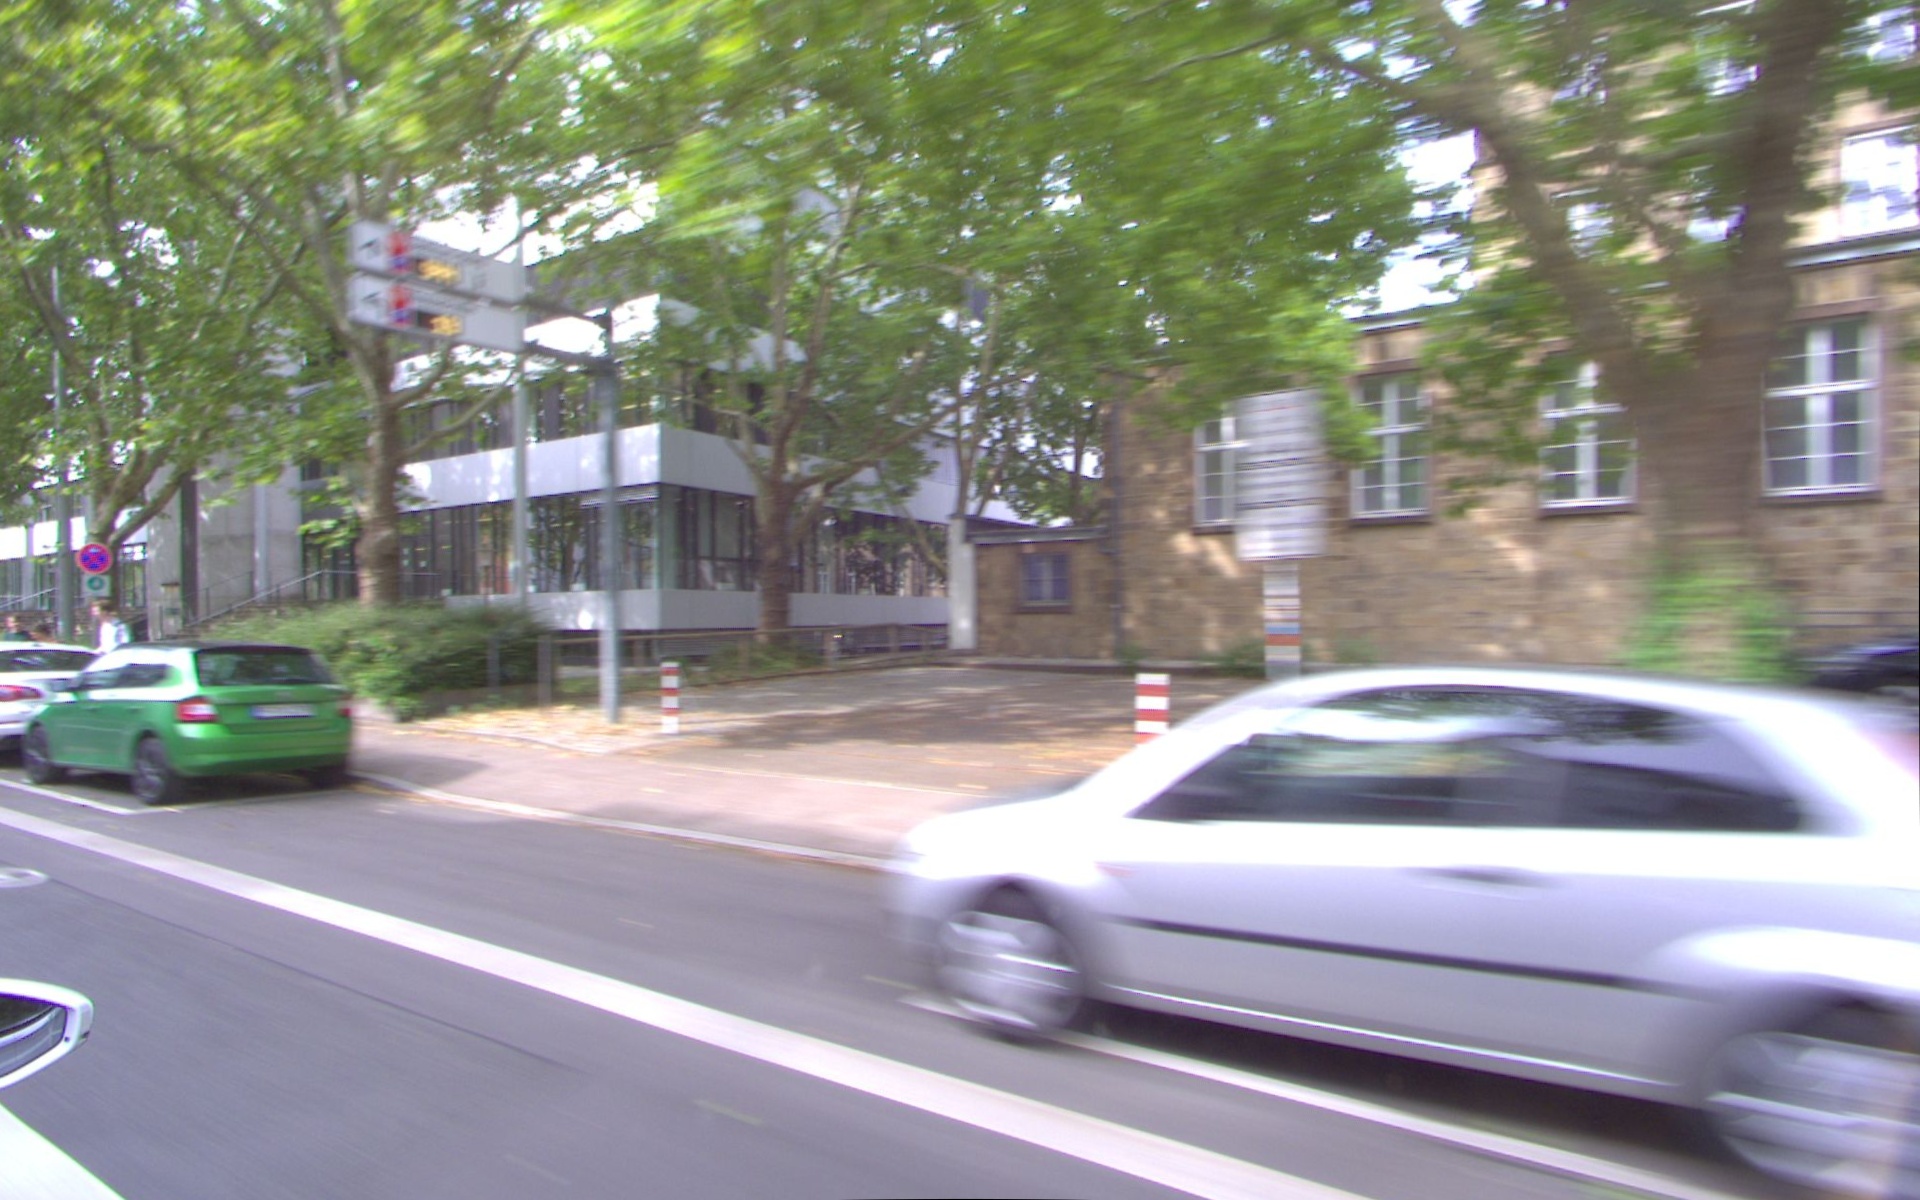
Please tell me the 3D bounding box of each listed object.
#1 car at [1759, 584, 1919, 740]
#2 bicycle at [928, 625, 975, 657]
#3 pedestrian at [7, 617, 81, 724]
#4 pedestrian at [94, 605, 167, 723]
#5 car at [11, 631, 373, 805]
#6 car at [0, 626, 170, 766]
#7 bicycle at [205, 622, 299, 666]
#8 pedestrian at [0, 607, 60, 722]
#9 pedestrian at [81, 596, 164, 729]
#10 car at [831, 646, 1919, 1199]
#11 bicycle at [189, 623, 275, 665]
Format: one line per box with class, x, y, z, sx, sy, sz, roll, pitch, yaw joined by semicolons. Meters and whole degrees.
car;10.559;0.641;9.632;4.233;1.469;1.667;2;0;31
bicycle;-0.236;1.201;29.633;0.502;0.889;1.614;-3;-2;36
pedestrian;-14.796;1.121;16.181;0.645;1.679;0.720;0;-1;32
pedestrian;-13.592;1.040;16.417;0.693;1.878;0.720;0;-1;32
car;-7.864;1.080;10.200;3.749;1.467;1.586;-1;-3;30
car;-12.078;1.118;12.696;4.476;1.535;1.680;-1;-3;30
bicycle;-20.027;1.226;28.369;0.663;1.132;2.075;0;0;32
pedestrian;-15.524;1.053;16.462;0.769;1.840;0.869;0;-1;32
pedestrian;-13.184;0.967;15.772;0.739;2.023;0.792;0;-1;32
car;1.552;0.944;3.900;3.822;1.465;1.643;0;-3;28
bicycle;-21.125;1.252;29.098;0.663;1.132;1.911;0;0;32
